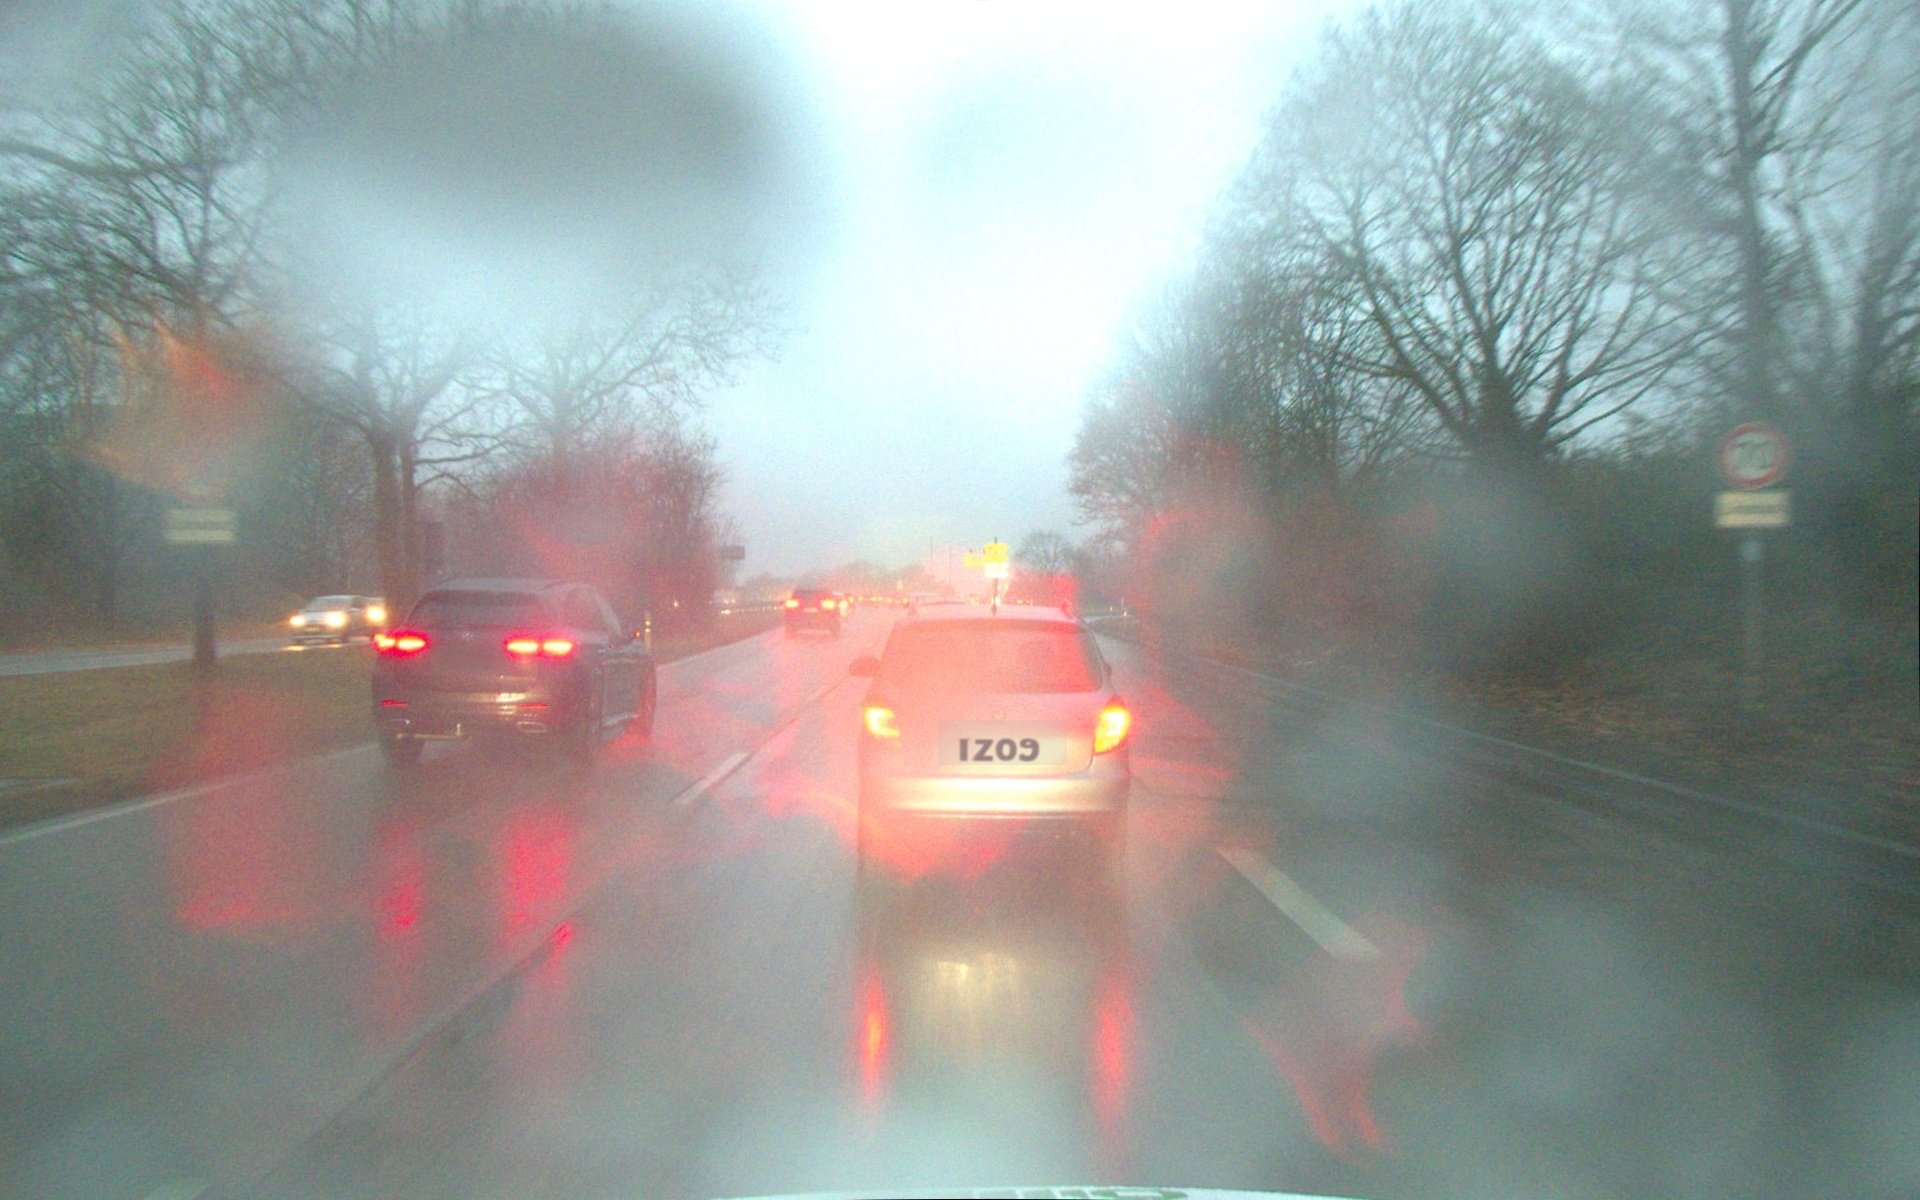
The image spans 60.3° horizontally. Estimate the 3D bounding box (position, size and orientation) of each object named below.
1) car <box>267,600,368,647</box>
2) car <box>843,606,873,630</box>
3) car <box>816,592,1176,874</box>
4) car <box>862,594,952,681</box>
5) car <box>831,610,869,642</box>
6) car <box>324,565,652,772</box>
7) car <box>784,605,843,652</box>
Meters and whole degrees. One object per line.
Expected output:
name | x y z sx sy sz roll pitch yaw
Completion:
car | -20.696 0.737 53.426 1.713 1.450 3.977 0 -1 -1
car | -6.620 1.157 107.382 1.753 1.509 3.999 -1 0 -1
car | 0.181 0.742 11.076 1.953 1.527 4.137 0 -1 -1
car | -1.103 0.771 36.221 1.858 1.798 4.308 0 0 -1
car | -5.629 1.299 85.082 1.753 1.572 3.999 -1 0 -1
car | -4.225 0.563 15.575 1.953 1.629 4.306 2 0 -2
car | -5.132 0.990 58.461 1.753 1.572 3.999 -1 0 -1
